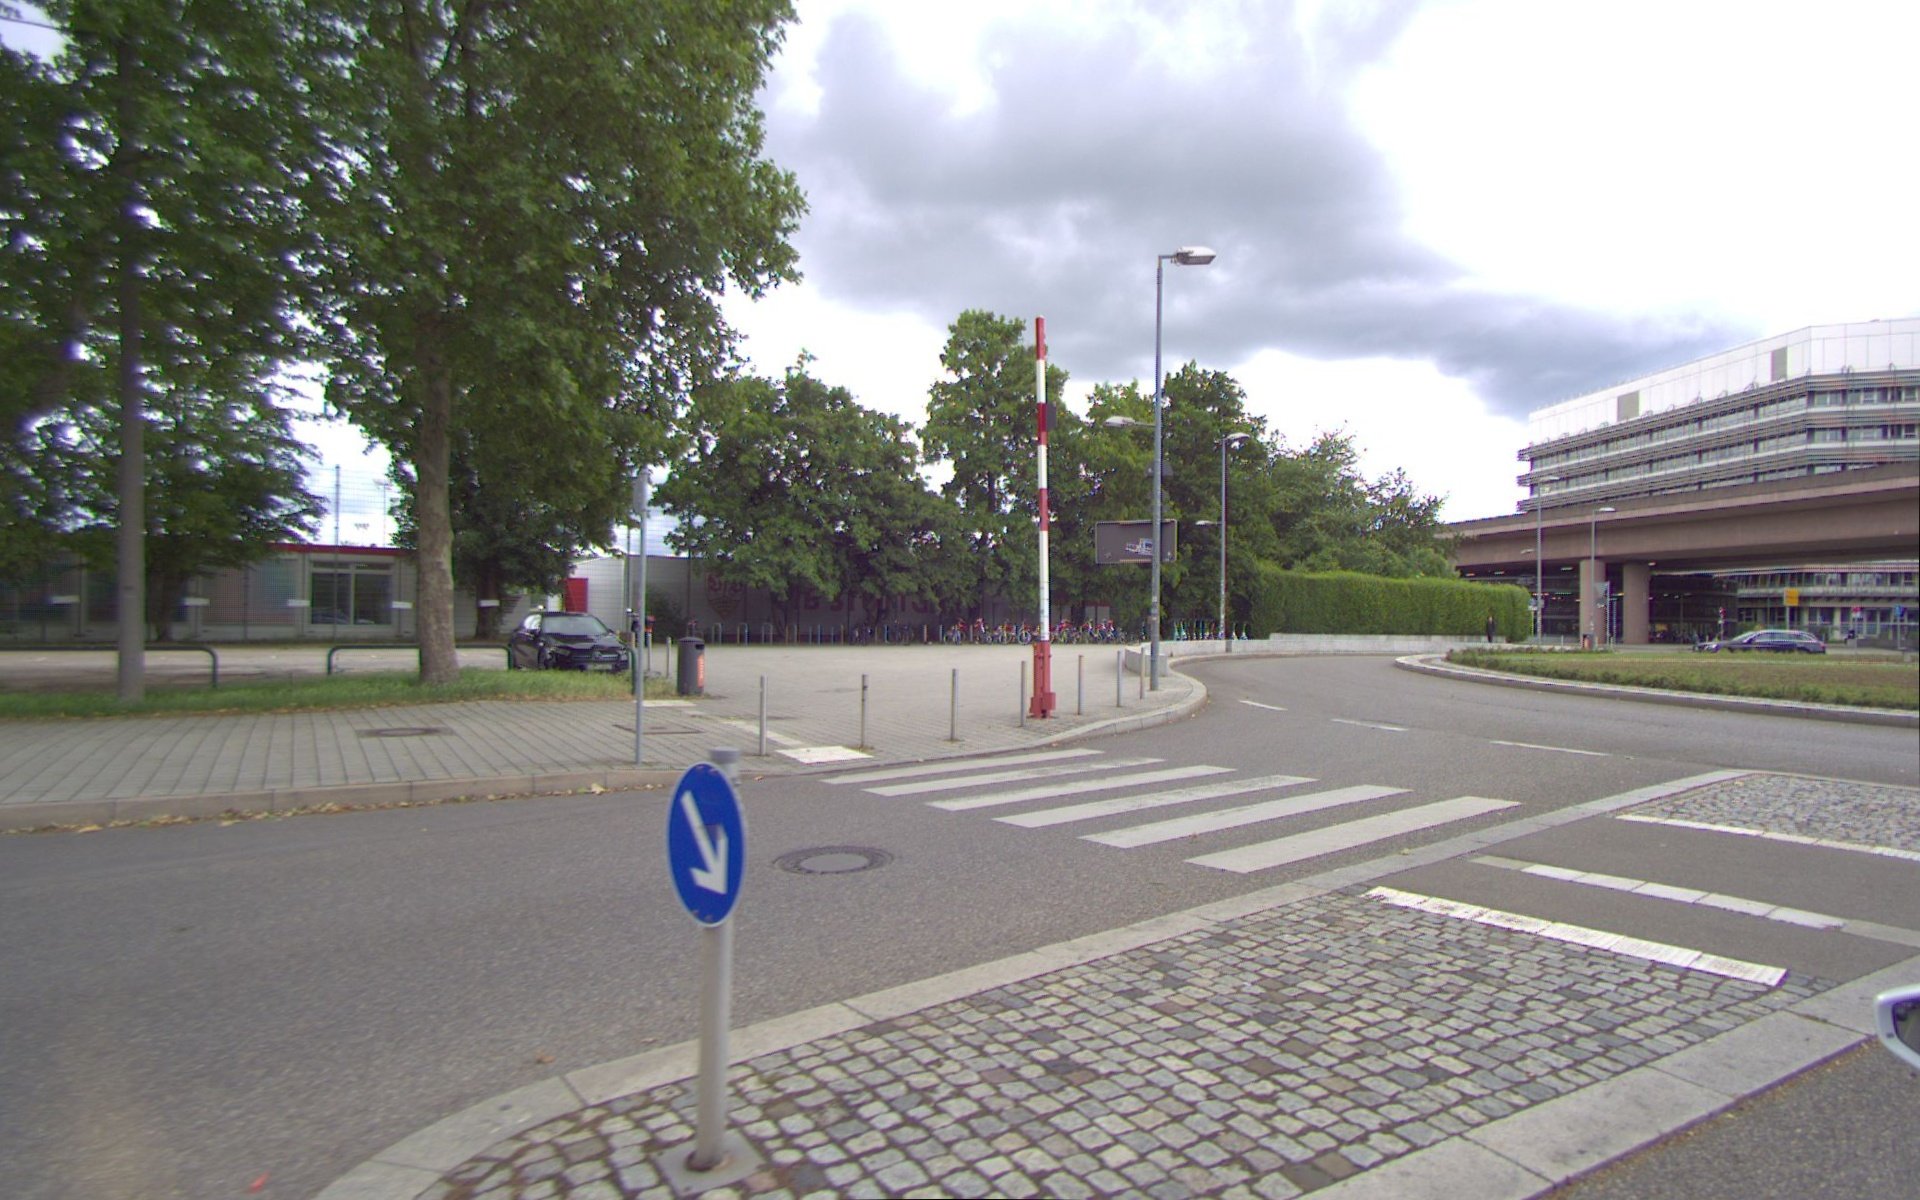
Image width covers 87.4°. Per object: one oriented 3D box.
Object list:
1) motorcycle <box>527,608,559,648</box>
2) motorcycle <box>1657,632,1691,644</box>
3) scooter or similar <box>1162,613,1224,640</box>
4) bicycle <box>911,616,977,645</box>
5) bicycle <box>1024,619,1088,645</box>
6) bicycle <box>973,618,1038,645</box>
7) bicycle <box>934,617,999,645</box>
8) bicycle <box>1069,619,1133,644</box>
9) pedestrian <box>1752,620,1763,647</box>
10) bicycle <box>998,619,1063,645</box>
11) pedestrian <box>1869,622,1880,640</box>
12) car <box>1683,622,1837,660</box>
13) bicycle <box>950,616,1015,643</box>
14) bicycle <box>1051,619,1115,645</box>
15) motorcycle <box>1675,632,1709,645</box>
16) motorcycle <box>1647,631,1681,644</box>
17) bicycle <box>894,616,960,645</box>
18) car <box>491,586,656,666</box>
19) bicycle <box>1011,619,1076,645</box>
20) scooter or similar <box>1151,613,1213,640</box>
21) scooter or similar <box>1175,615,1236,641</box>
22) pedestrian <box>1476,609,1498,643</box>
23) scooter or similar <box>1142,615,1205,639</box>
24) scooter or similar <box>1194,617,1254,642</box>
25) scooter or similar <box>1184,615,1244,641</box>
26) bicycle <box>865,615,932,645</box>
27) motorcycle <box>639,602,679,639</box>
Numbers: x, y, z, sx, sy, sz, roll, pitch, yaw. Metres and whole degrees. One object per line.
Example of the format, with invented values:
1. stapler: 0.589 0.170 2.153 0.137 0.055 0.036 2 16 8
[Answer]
1. motorcycle: -14.293 0.935 34.351 0.763 1.238 3.648 2 -1 -26
2. motorcycle: 68.785 3.658 96.824 1.021 1.127 2.655 2 -1 -12
3. scooter or similar: 12.160 1.377 52.460 3.145 1.266 0.769 1 -1 42
4. bicycle: -0.705 1.297 43.321 3.146 1.112 0.769 1 0 43
5. bicycle: 4.523 1.494 47.476 3.145 1.112 0.769 1 -1 42
6. bicycle: 2.019 1.402 45.432 3.145 1.112 0.769 0 -1 42
7. bicycle: 0.241 1.364 44.303 3.146 1.112 0.769 1 0 43
8. bicycle: 6.831 1.515 48.862 3.145 1.112 0.769 1 -1 42
9. pedestrian: 62.600 2.624 78.832 0.595 2.040 0.582 2 0 -45
10. bicycle: 3.171 1.447 45.669 3.145 1.111 0.769 -1 -2 42
11. pedestrian: 102.509 3.480 112.536 0.663 2.040 0.771 1 -1 -33
12. car: 34.820 1.756 43.881 4.838 1.480 2.000 1 -1 21
13. bicycle: 0.998 1.306 44.915 3.145 1.112 0.769 1 -1 42
14. bicycle: 5.875 1.512 48.130 3.145 1.112 0.769 1 -1 42
15. motorcycle: 70.556 3.706 96.827 1.021 1.127 2.655 2 -1 -12
16. motorcycle: 67.575 3.619 96.419 1.021 1.127 2.655 2 -1 -12
17. bicycle: -1.413 1.267 42.655 3.146 1.112 0.769 1 0 43
18. car: -8.761 0.572 22.599 2.216 1.626 3.951 2 -2 -42
19. bicycle: 3.845 1.476 46.630 3.145 1.112 0.769 1 -1 42
20. scooter or similar: 11.398 1.347 51.642 3.145 1.266 0.769 1 -1 42
21. scooter or similar: 13.089 1.474 53.582 3.145 1.266 0.769 1 -1 42
22. pedestrian: 32.352 1.600 61.714 0.595 2.040 1.032 2 -1 -44
23. scooter or similar: 10.794 1.381 50.918 3.145 1.112 0.769 1 -1 42
24. scooter or similar: 14.446 1.586 55.112 3.145 1.266 0.769 1 -1 42
25. scooter or similar: 13.761 1.513 54.472 3.145 1.266 0.769 1 -1 42
26. bicycle: -2.559 1.218 41.216 3.146 1.112 0.769 1 0 43
27. motorcycle: -10.826 0.702 36.022 0.763 1.238 3.648 2 -1 -26
